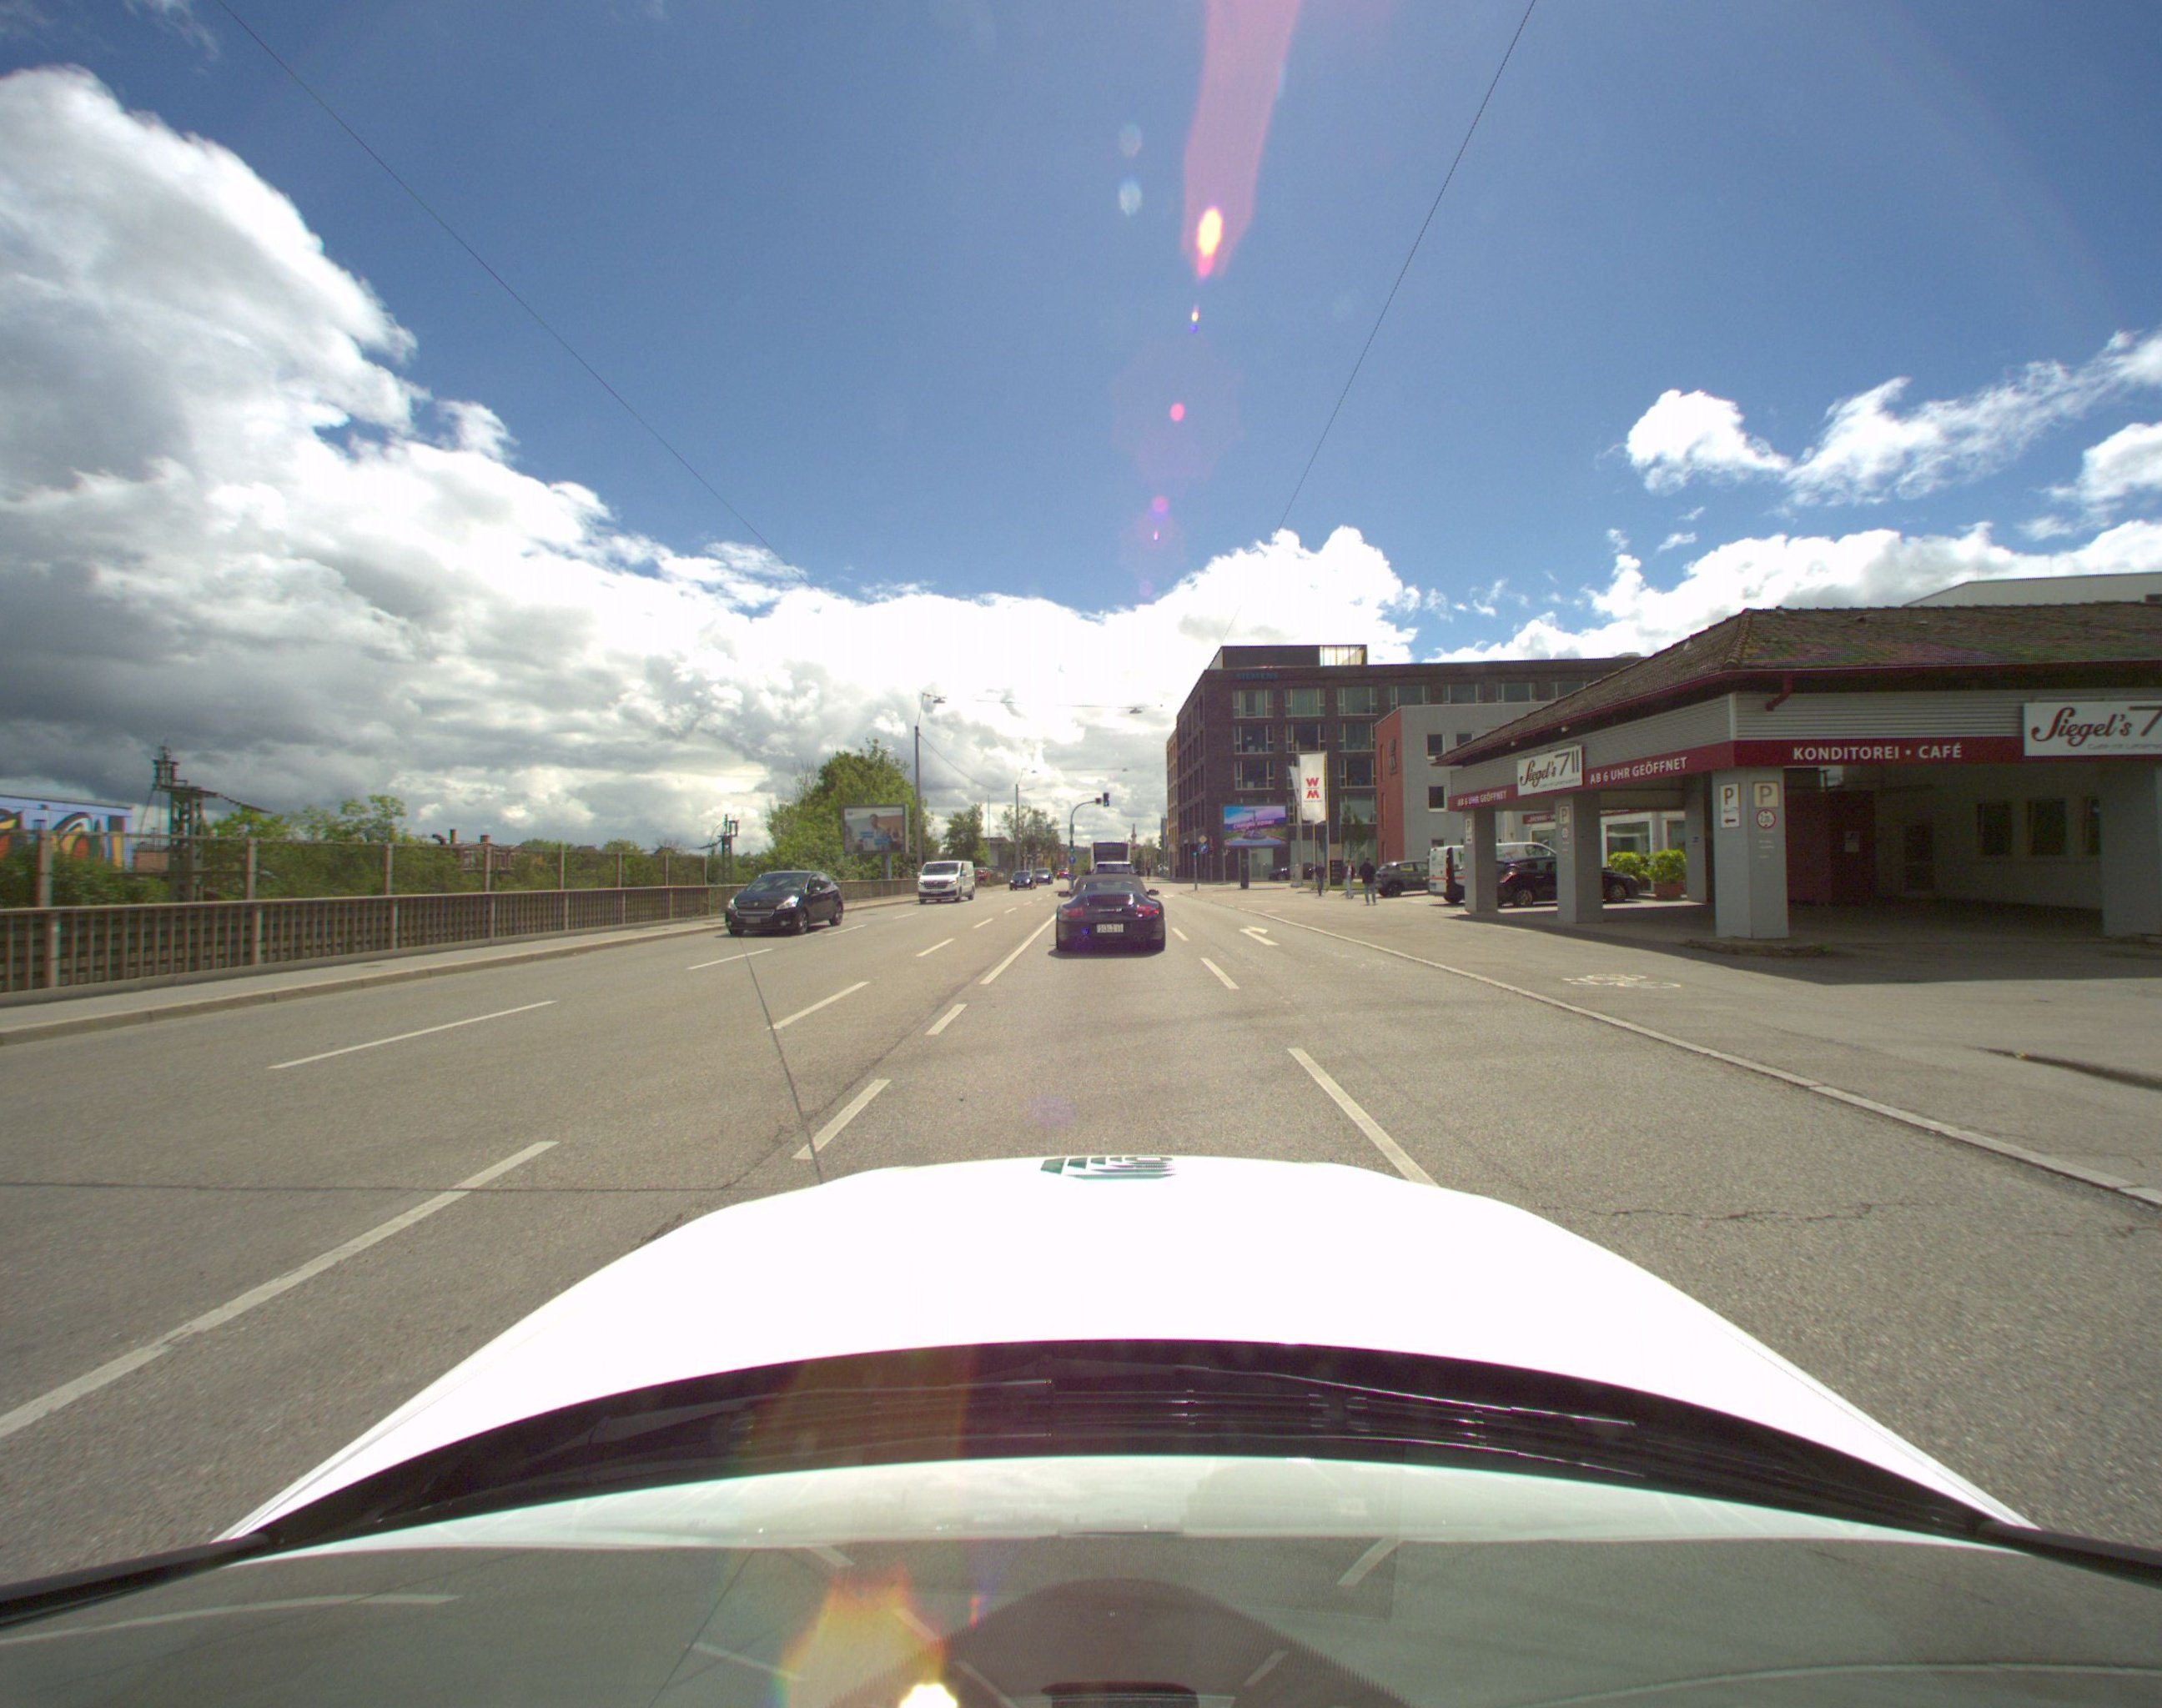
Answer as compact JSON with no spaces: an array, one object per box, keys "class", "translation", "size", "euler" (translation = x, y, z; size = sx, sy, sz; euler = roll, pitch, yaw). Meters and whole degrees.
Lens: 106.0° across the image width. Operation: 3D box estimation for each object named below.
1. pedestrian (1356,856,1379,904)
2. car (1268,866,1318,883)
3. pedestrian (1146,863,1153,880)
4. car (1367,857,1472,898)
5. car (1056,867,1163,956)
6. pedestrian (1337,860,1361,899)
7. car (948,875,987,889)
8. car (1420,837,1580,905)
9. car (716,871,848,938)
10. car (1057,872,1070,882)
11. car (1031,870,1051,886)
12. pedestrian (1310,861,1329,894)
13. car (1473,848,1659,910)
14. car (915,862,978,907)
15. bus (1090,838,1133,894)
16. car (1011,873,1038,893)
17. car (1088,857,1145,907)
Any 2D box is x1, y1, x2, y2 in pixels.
[{"class":"pedestrian","translation":[10.262,0.927,29.164],"size":[0.673,1.696,0.602],"euler":[-1,-1,27]},{"class":"car","translation":[18.199,1.752,70.114],"size":[3.915,1.431,1.474],"euler":[-1,-1,1]},{"class":"pedestrian","translation":[8.118,2.108,96.408],"size":[0.664,2.014,0.769],"euler":[-1,-1,0]},{"class":"car","translation":[14.584,1.022,35.256],"size":[3.744,1.440,1.720],"euler":[-5,-1,2]},{"class":"car","translation":[0.530,0.948,15.028],"size":[1.713,1.275,4.090],"euler":[0,1,2]},{"class":"pedestrian","translation":[11.953,1.129,36.316],"size":[0.705,1.696,0.924],"euler":[-1,-1,-1]},{"class":"car","translation":[-10.519,2.612,75.643],"size":[3.509,1.264,1.386],"euler":[-1,-1,-8]},{"class":"car","translation":[13.875,0.571,27.195],"size":[4.214,1.937,2.030],"euler":[-3,-1,2]},{"class":"car","translation":[-7.135,1.152,19.869],"size":[1.622,1.430,4.001],"euler":[-1,-1,1]},{"class":"car","translation":[-2.548,3.307,119.226],"size":[1.656,1.416,3.804],"euler":[-1,-1,2]},{"class":"car","translation":[-3.984,2.359,82.031],"size":[1.656,1.547,3.804],"euler":[-1,-1,2]},{"class":"pedestrian","translation":[11.918,1.172,40.701],"size":[0.668,1.661,0.742],"euler":[-1,-1,0]},{"class":"car","translation":[14.227,0.752,24.079],"size":[4.284,1.513,1.847],"euler":[-4,-2,1]},{"class":"car","translation":[-6.320,1.394,38.769],"size":[1.895,1.887,5.314],"euler":[-3,-1,1]},{"class":"bus","translation":[2.168,0.657,56.974],"size":[2.678,3.255,12.067],"euler":[1,2,2]},{"class":"car","translation":[-4.347,2.216,62.793],"size":[1.656,1.416,3.804],"euler":[-1,-1,2]},{"class":"car","translation":[1.227,0.964,29.844],"size":[1.874,1.594,4.229],"euler":[0,1,-1]}]
